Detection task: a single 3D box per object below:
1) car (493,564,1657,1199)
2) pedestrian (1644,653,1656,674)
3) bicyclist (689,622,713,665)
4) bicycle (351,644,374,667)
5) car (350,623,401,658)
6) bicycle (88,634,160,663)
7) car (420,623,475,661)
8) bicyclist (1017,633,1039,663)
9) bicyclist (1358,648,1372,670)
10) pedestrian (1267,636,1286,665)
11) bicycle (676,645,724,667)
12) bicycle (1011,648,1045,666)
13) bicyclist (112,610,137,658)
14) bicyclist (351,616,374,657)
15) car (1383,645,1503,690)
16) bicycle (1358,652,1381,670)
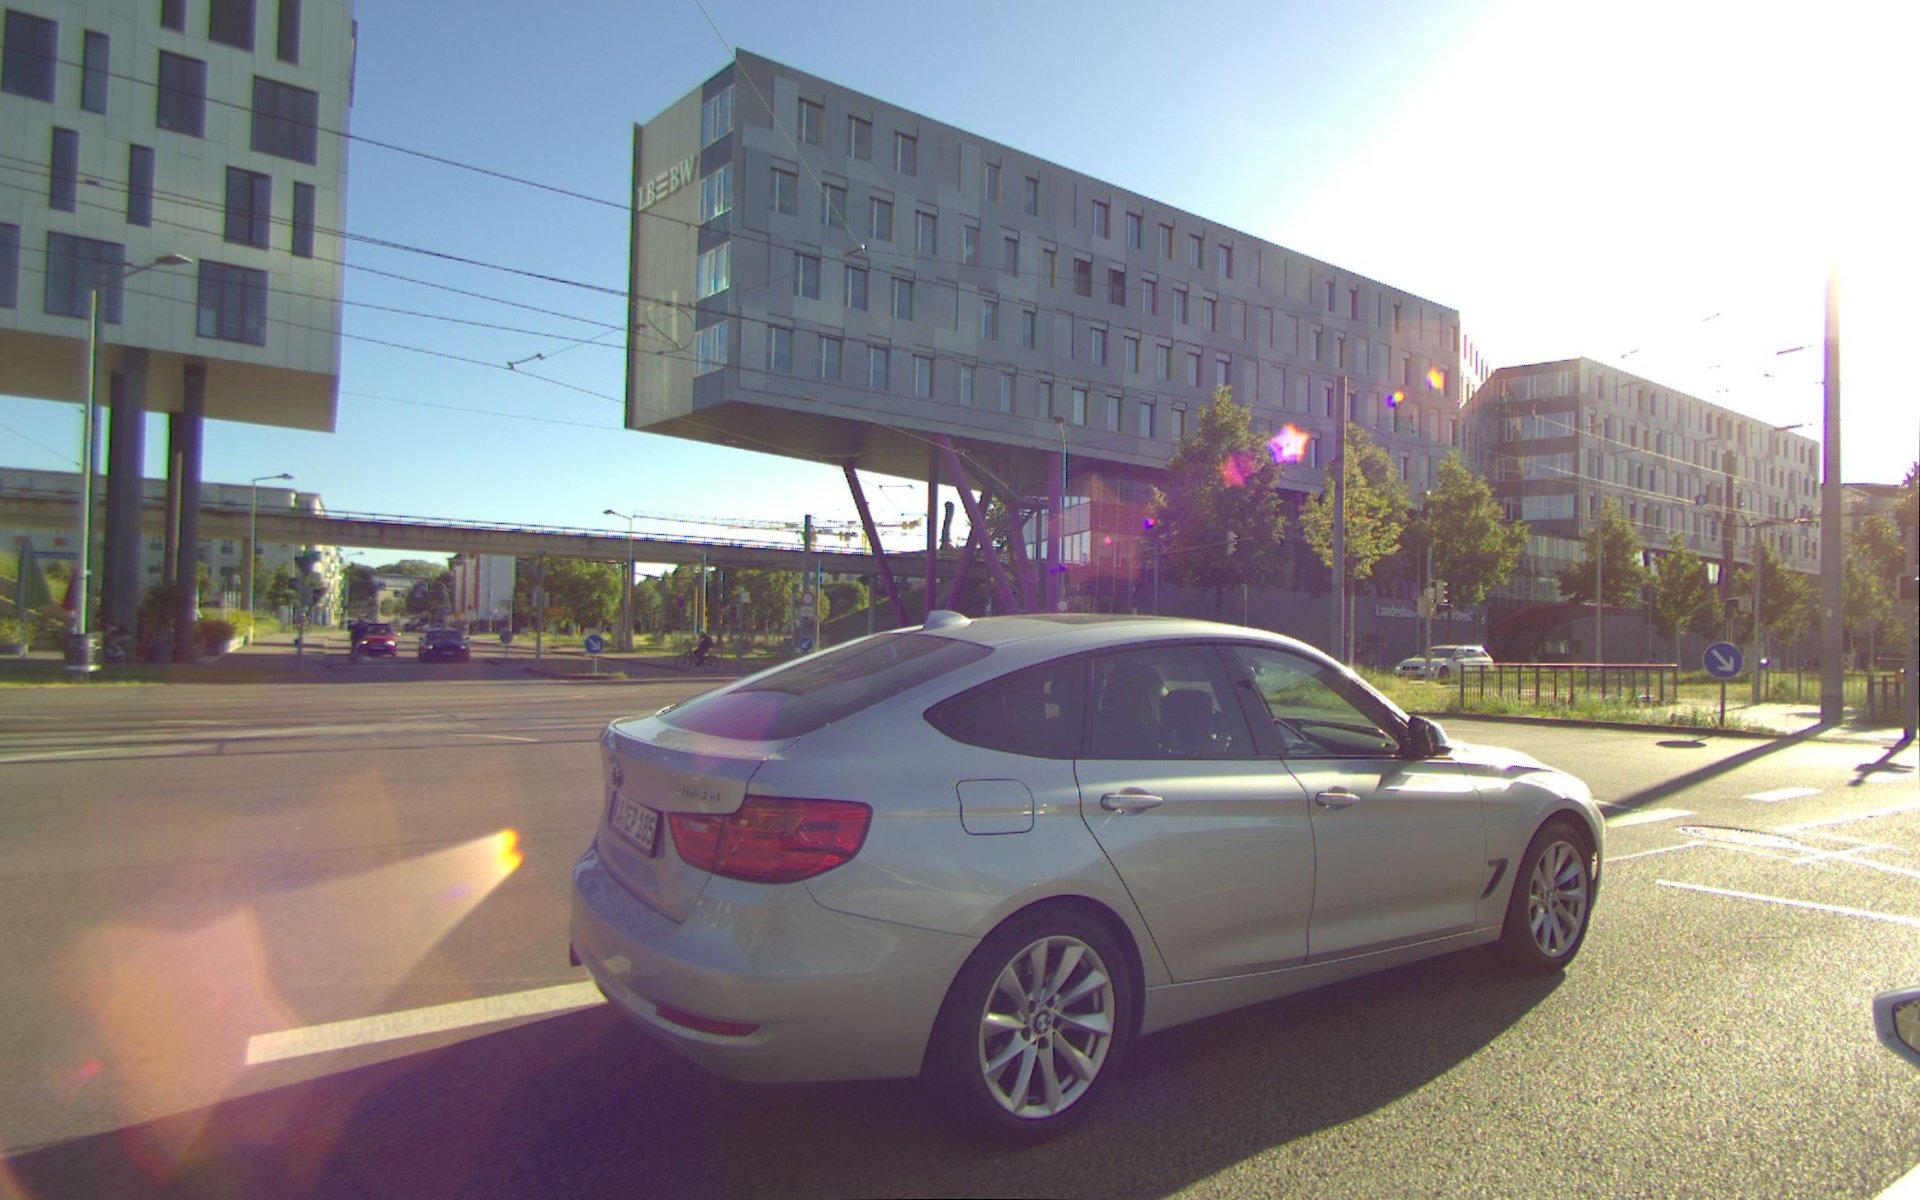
[{"bbox_3d":[0.850,0.789,4.229,4.861,1.547,1.787,3,-1,-34],"label":"car"},{"bbox_3d":[65.968,6.057,96.002,0.682,2.040,0.732,3,-2,-32],"label":"pedestrian"},{"bbox_3d":[-10.803,1.814,41.871,0.828,1.749,0.527,2,-2,-32],"label":"bicyclist"},{"bbox_3d":[-24.023,2.212,40.377,0.740,0.874,1.816,2,-2,-30],"label":"bicycle"},{"bbox_3d":[-28.221,1.938,48.602,1.976,1.586,3.969,2,-2,-29],"label":"car"},{"bbox_3d":[-25.840,1.498,31.068,1.679,0.874,0.477,3,-2,-42],"label":"bicycle"},{"bbox_3d":[-22.835,1.847,44.679,1.976,1.586,3.969,2,-2,-29],"label":"car"},{"bbox_3d":[3.402,2.416,50.397,0.948,1.454,0.567,2,-2,-32],"label":"bicyclist"},{"bbox_3d":[28.392,4.107,70.374,0.755,1.515,0.555,3,-2,-33],"label":"bicyclist"},{"bbox_3d":[20.177,3.230,64.063,0.862,1.846,0.717,2,-2,-33],"label":"pedestrian"},{"bbox_3d":[-10.825,2.333,41.849,1.814,0.874,0.525,2,-2,-32],"label":"bicycle"},{"bbox_3d":[3.416,2.857,50.408,1.673,0.874,0.572,2,-2,-32],"label":"bicycle"},{"bbox_3d":[-25.853,1.054,31.067,0.549,1.441,0.477,2,-2,-41],"label":"bicyclist"},{"bbox_3d":[-23.976,1.460,40.339,0.742,1.604,0.949,2,-2,-31],"label":"bicyclist"},{"bbox_3d":[18.463,2.555,38.324,4.822,1.582,1.981,3,-2,-35],"label":"car"},{"bbox_3d":[28.569,4.266,70.075,1.955,1.188,0.517,3,-2,-33],"label":"bicycle"}]
